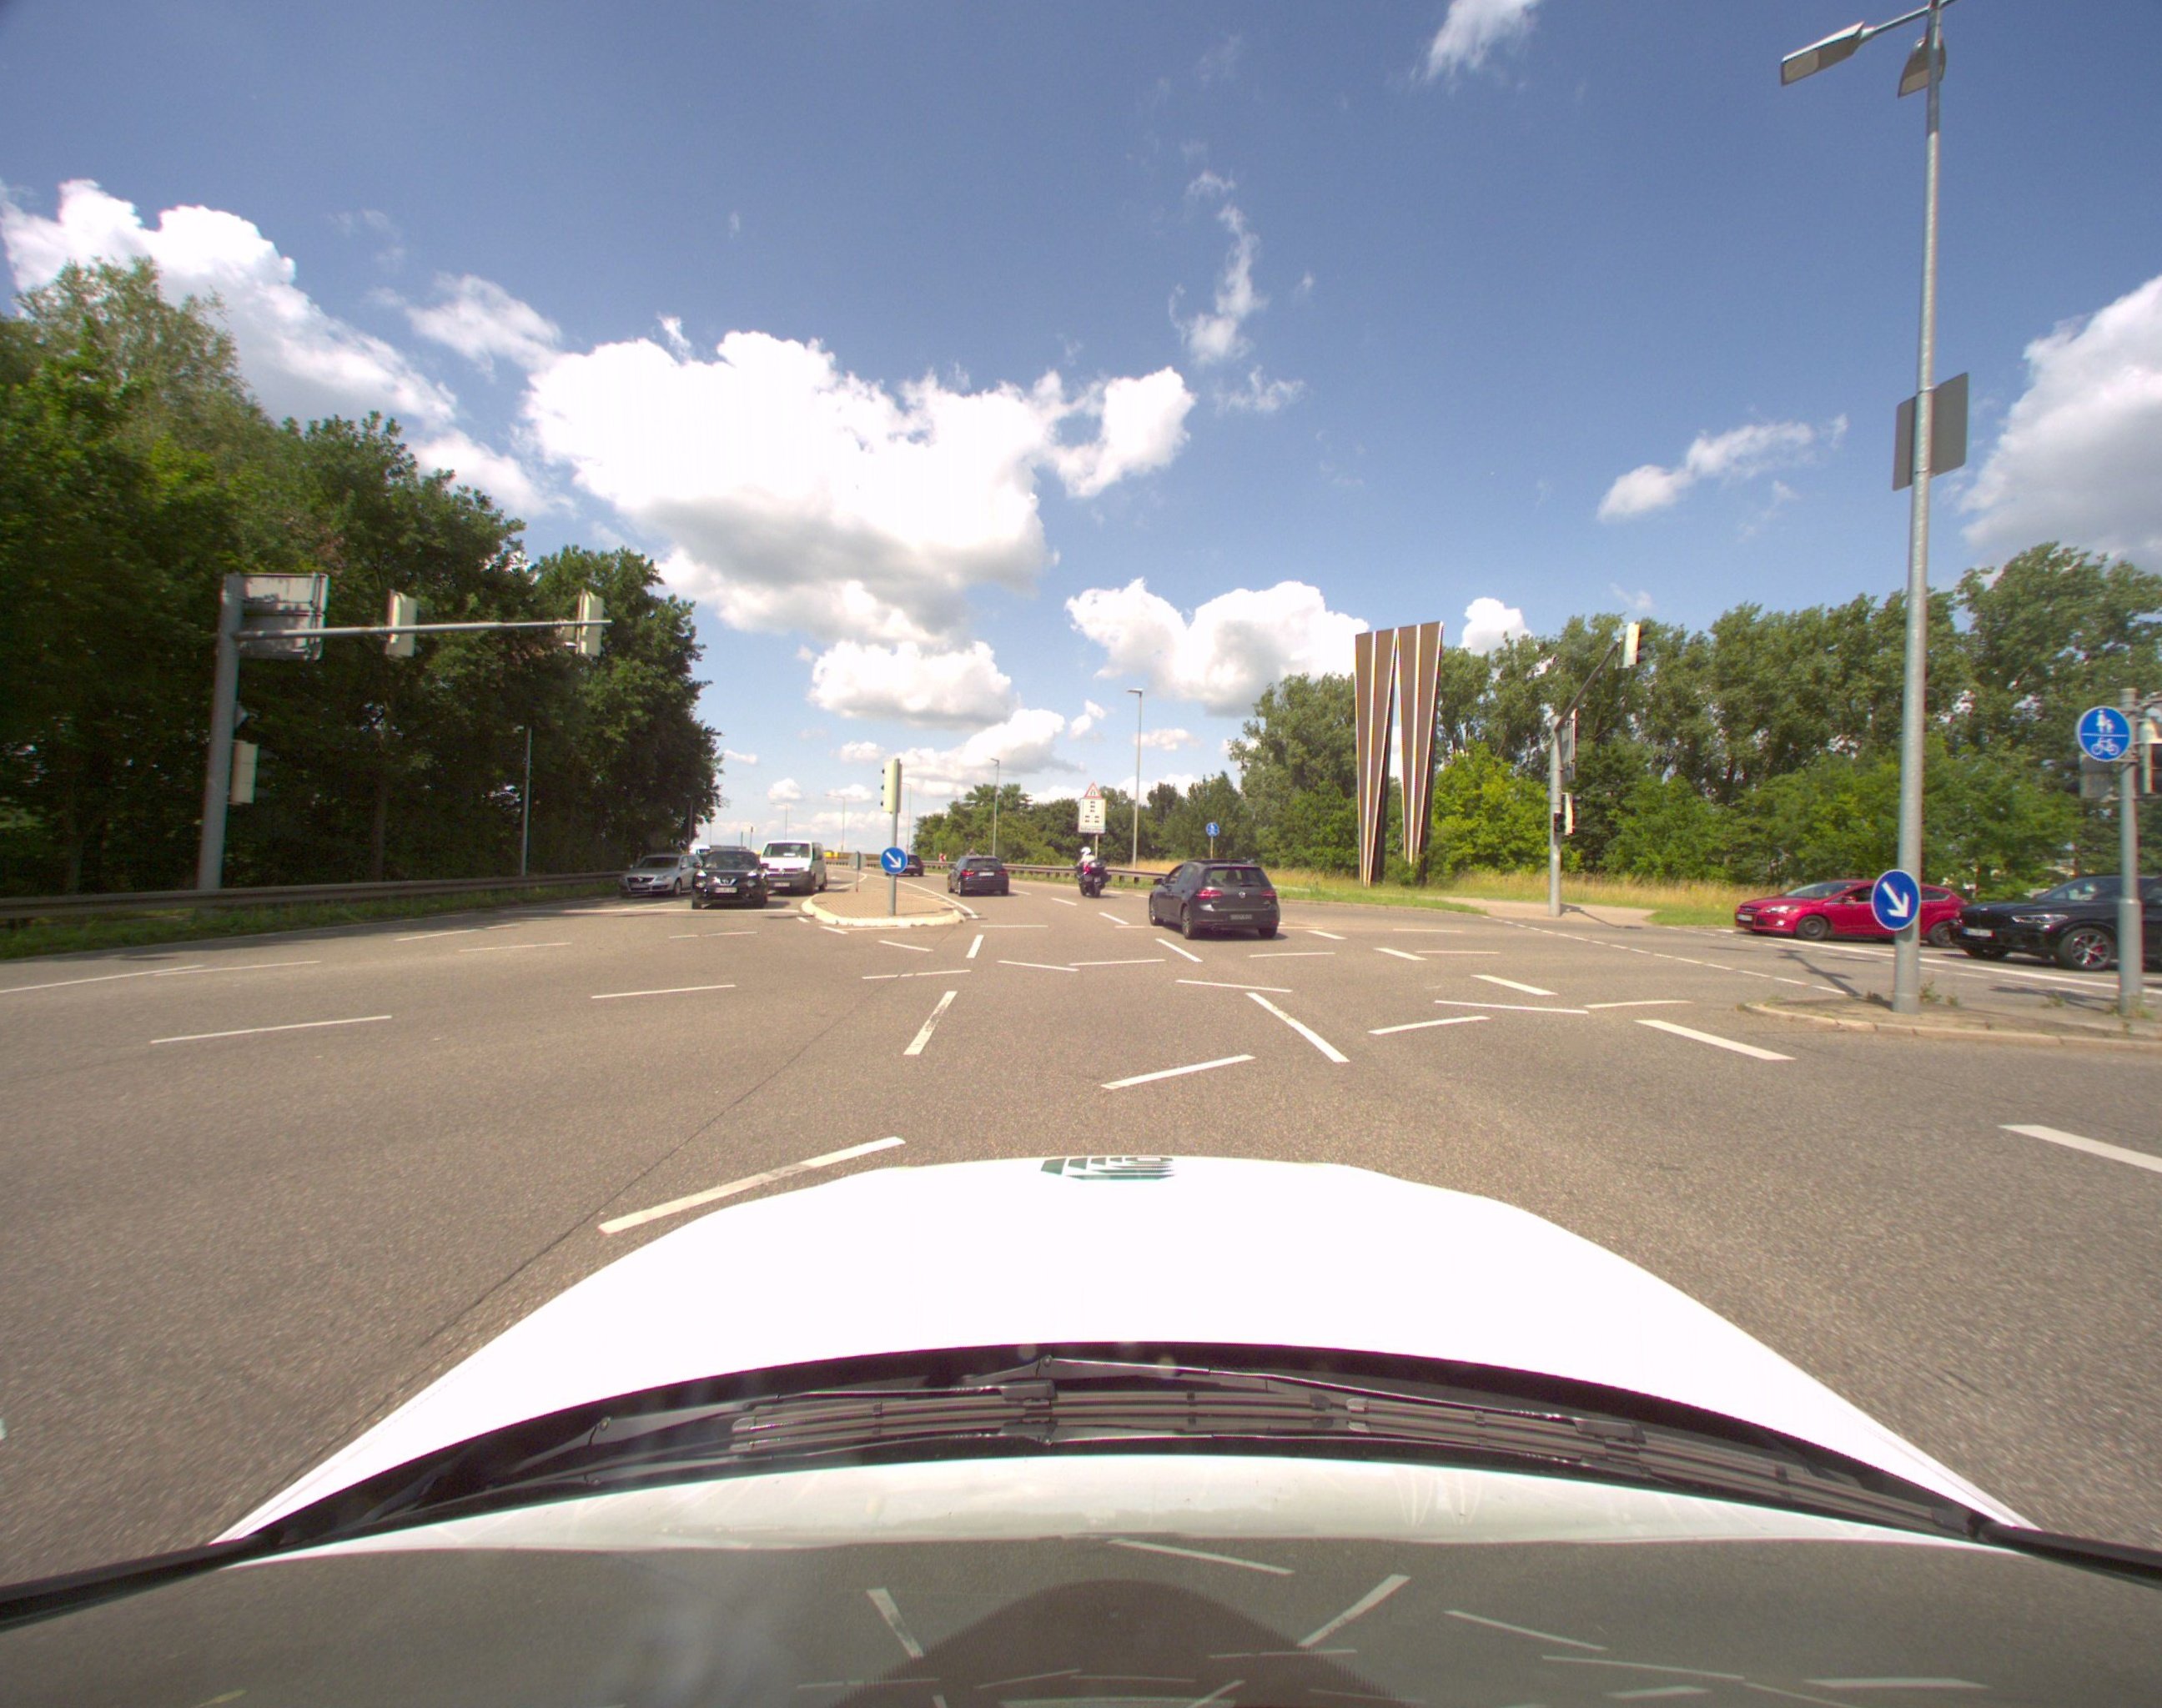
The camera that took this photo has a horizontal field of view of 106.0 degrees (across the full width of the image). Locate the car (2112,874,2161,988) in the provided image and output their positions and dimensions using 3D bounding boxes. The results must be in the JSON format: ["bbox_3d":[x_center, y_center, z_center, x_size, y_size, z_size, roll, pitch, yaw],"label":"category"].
[{"bbox_3d":[17.469,1.166,11.033,4.256,1.617,1.849,2,-1,9],"label":"car"}]

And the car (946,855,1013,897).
[{"bbox_3d":[-3.726,0.782,29.286,1.687,1.388,3.715,0,-1,-19],"label":"car"}]

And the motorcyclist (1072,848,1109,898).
[{"bbox_3d":[0.313,0.642,27.494,0.967,1.620,1.119,1,-1,-14],"label":"motorcyclist"}]

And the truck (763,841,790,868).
[{"bbox_3d":[-31.678,0.040,84.672,2.004,2.620,6.051,-1,1,-26],"label":"truck"}]

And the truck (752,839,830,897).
[{"bbox_3d":[-10.465,0.485,29.751,1.962,1.913,5.348,1,0,-12],"label":"truck"}]

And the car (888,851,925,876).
[{"bbox_3d":[-11.003,0.604,51.247,1.649,1.479,3.843,1,-1,-22],"label":"car"}]

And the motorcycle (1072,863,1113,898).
[{"bbox_3d":[0.351,0.863,27.238,0.790,1.132,2.388,1,-1,-14],"label":"motorcycle"}]

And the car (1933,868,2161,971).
[{"bbox_3d":[18.642,1.169,14.744,4.178,1.645,1.842,2,0,9],"label":"car"}]

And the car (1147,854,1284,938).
[{"bbox_3d":[2.571,0.777,16.434,1.641,1.479,3.861,1,-1,-8],"label":"car"}]

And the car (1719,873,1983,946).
[{"bbox_3d":[17.603,1.229,18.816,4.178,1.375,1.763,2,0,9],"label":"car"}]

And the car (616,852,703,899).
[{"bbox_3d":[-14.549,0.710,28.345,1.685,1.478,4.688,0,0,-15],"label":"car"}]

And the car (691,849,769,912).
[{"bbox_3d":[-9.507,0.656,22.288,1.704,1.557,3.796,1,0,-20],"label":"car"}]

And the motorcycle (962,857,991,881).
[{"bbox_3d":[-5.435,0.766,42.281,0.891,1.247,2.381,1,-1,-22],"label":"motorcycle"}]

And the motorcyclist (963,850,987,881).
[{"bbox_3d":[-5.543,0.590,42.540,0.970,1.596,1.116,1,-1,-23],"label":"motorcyclist"}]
